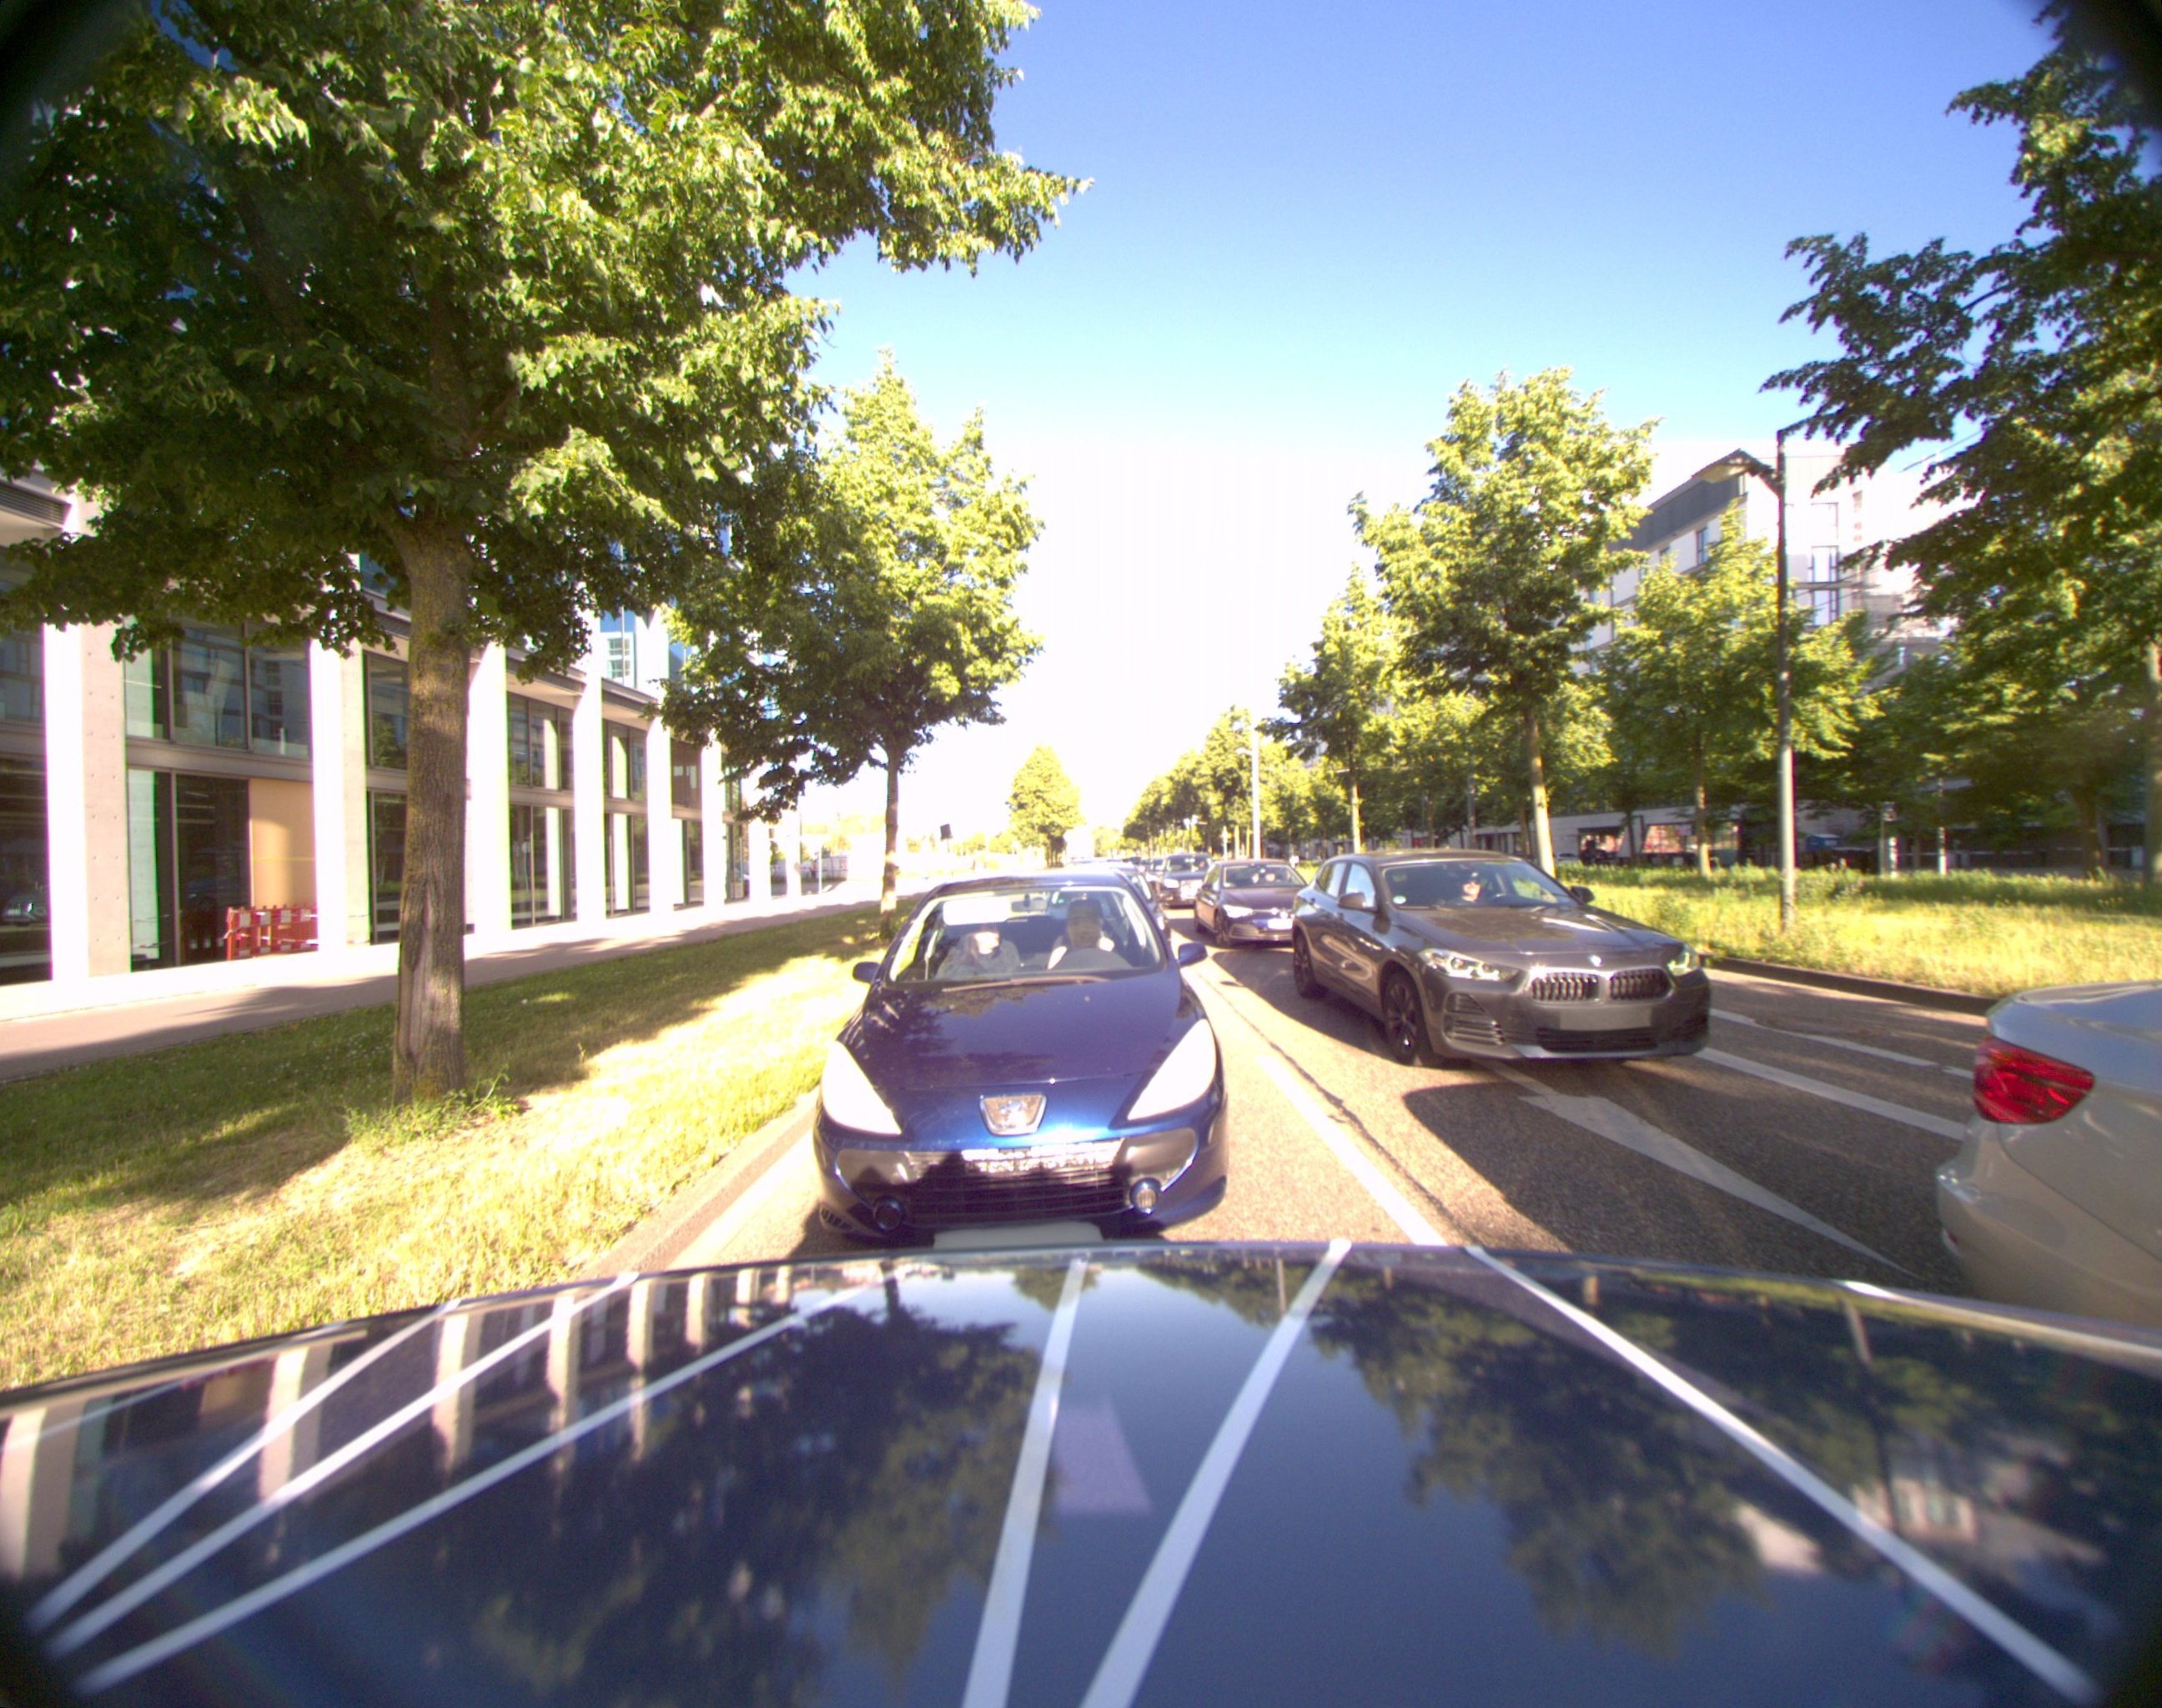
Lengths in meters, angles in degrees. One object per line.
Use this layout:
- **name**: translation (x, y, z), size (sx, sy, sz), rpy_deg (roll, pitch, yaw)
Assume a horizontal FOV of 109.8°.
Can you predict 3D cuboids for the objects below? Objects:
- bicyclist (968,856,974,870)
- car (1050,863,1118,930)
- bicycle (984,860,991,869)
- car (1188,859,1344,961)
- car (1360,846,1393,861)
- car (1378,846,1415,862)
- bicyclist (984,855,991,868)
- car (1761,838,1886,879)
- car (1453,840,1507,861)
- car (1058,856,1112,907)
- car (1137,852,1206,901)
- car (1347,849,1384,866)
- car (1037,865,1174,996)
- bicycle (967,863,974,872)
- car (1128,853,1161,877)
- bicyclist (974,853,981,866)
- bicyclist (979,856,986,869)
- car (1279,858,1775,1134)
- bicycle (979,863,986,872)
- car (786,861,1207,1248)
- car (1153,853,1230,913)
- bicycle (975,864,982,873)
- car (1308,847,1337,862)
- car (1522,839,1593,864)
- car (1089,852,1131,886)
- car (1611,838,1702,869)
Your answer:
- **bicyclist**: translation (-10.452, 0.835, 71.923), size (0.448, 1.282, 0.418), rpy_deg (-2, 1, 1)
- **car**: translation (0.084, 0.933, 18.075), size (1.407, 1.326, 3.785), rpy_deg (-1, 0, 1)
- **bicycle**: translation (-9.313, 1.050, 76.007), size (0.464, 0.813, 1.344), rpy_deg (-2, 1, 1)
- **car**: translation (3.051, 0.849, 13.443), size (1.812, 1.445, 4.254), rpy_deg (-1, 0, 2)
- **car**: translation (34.702, -0.047, 89.382), size (2.012, 1.689, 4.791), rpy_deg (-1, 0, -1)
- **car**: translation (34.670, 0.003, 83.575), size (2.012, 1.689, 4.791), rpy_deg (-1, 0, -1)
- **bicyclist**: translation (-9.331, 0.747, 75.950), size (0.534, 1.282, 0.521), rpy_deg (-2, 1, 1)
- **car**: translation (34.236, 0.179, 35.198), size (1.858, 1.739, 4.000), rpy_deg (-1, 0, 1)
- **car**: translation (34.635, -0.269, 66.075), size (2.012, 1.689, 4.791), rpy_deg (-1, 0, -3)
- **car**: translation (0.149, 0.894, 26.313), size (1.705, 1.591, 3.785), rpy_deg (-1, 0, 1)
- **car**: translation (3.381, 0.803, 29.233), size (2.012, 1.689, 4.791), rpy_deg (-1, 0, -1)
- **car**: translation (24.497, 0.320, 65.514), size (1.666, 1.384, 4.000), rpy_deg (-1, 0, 1)
- **car**: translation (0.320, 0.949, 11.324), size (1.612, 1.463, 4.395), rpy_deg (-1, 0, 1)
- **bicycle**: translation (-10.443, 1.296, 71.764), size (0.415, 0.813, 1.320), rpy_deg (-2, 1, 1)
- **car**: translation (4.841, 0.830, 58.282), size (2.012, 1.689, 4.791), rpy_deg (-1, 0, -1)
- **bicyclist**: translation (-10.299, 0.560, 75.814), size (0.534, 1.282, 0.457), rpy_deg (-2, 1, 1)
- **bicyclist**: translation (-9.300, 0.829, 71.719), size (0.534, 1.210, 0.507), rpy_deg (-2, 1, 1)
- **car**: translation (3.083, 0.829, 6.373), size (1.812, 1.513, 4.029), rpy_deg (-1, 0, 1)
- **bicycle**: translation (-9.279, 1.253, 71.660), size (0.464, 0.813, 1.344), rpy_deg (-2, 1, 1)
- **car**: translation (-0.321, 0.843, 5.006), size (1.686, 1.513, 3.785), rpy_deg (-1, 0, 1)
- **car**: translation (3.194, 0.795, 22.674), size (1.812, 1.581, 4.165), rpy_deg (-1, 0, 2)
- **bicycle**: translation (-10.249, 1.420, 75.815), size (0.464, 0.813, 1.344), rpy_deg (-2, 1, 1)
- **car**: translation (28.641, 0.046, 90.205), size (1.858, 1.719, 4.792), rpy_deg (-1, 0, 1)
- **car**: translation (34.837, -0.169, 55.736), size (2.012, 1.689, 4.791), rpy_deg (-1, 0, -3)
- **car**: translation (1.525, 0.752, 41.391), size (2.012, 1.689, 4.791), rpy_deg (-1, 0, -1)
- **car**: translation (34.424, -0.036, 45.612), size (1.858, 1.674, 4.792), rpy_deg (-1, 0, 1)
